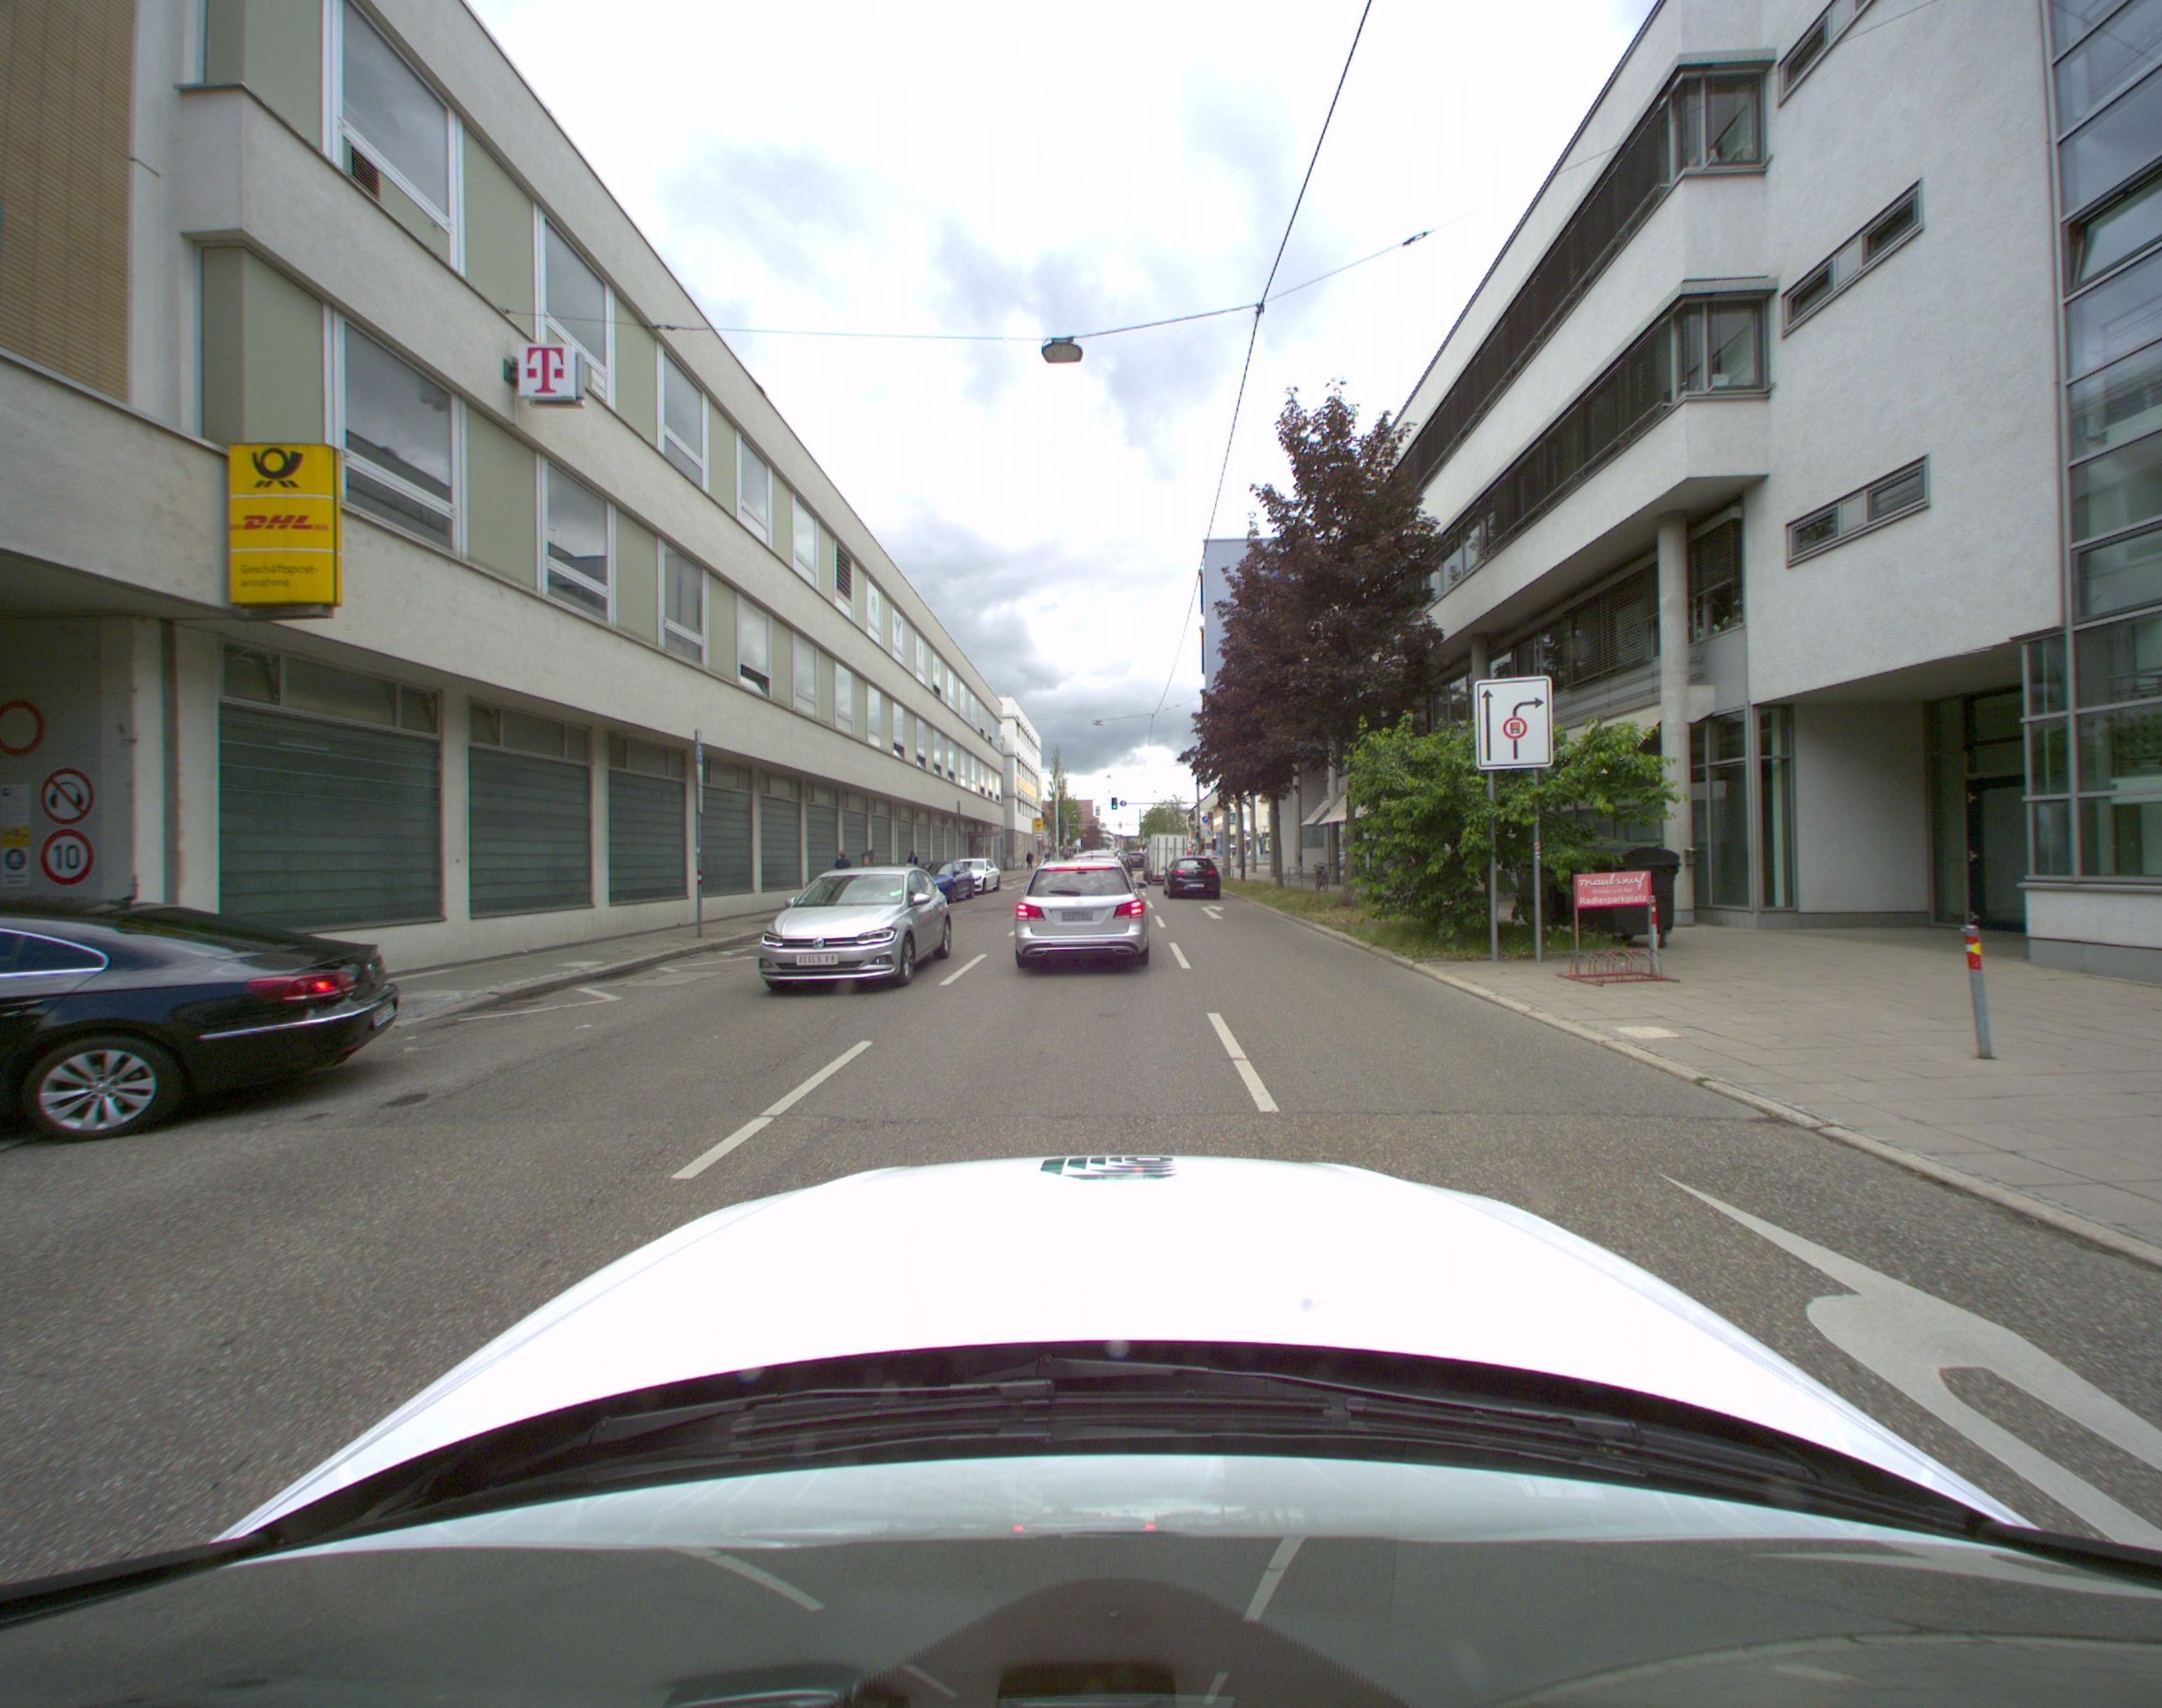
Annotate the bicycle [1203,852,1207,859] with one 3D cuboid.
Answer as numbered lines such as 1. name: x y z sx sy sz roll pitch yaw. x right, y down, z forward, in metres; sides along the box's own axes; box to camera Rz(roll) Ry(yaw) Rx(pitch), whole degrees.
1. bicycle: 20.255 0.195 133.302 0.446 1.107 2.151 -1 0 4

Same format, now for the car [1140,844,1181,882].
1. car: 4.374 0.465 45.391 1.871 1.945 4.907 1 0 1

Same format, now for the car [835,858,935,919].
1. car: -5.343 0.889 22.663 1.710 1.425 3.871 -3 0 1

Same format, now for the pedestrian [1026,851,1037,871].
1. pedestrian: -4.233 0.601 69.257 0.858 1.718 1.032 0 0 1

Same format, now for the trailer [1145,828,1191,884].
1. trailer: 4.287 0.096 40.781 1.871 2.613 4.324 1 0 1

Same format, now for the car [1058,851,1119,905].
1. car: 0.254 0.688 25.333 1.728 1.508 4.001 -1 0 1

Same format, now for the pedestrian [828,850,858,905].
1. pedestrian: -7.555 0.731 25.904 0.587 1.718 1.055 -1 0 1

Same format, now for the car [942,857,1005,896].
1. car: -4.465 0.902 34.462 1.662 1.434 4.559 -3 0 5

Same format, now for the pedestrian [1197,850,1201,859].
1. pedestrian: 19.026 0.035 131.641 0.577 1.469 0.650 0 0 -5

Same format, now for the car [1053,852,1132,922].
1. car: 0.288 0.725 20.035 1.728 1.508 4.001 -1 0 1

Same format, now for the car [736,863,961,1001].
1. car: -2.924 0.899 11.205 1.793 1.417 4.001 -3 0 1

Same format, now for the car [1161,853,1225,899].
1. car: 3.832 0.723 28.392 1.728 1.410 4.001 -1 0 1

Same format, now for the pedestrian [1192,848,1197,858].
1. pedestrian: 18.754 -0.112 134.453 0.577 1.666 0.650 0 0 -4

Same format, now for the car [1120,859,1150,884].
1. car: 3.401 1.088 51.869 1.728 1.410 4.001 -1 0 1

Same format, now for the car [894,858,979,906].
1. car: -4.946 0.919 28.524 1.806 1.426 4.270 -3 0 5

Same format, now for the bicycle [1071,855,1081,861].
1. bicycle: -0.951 0.810 159.675 1.936 1.029 0.529 0 0 -7

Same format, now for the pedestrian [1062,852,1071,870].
1. pedestrian: -1.366 0.635 76.677 0.643 1.718 0.785 0 0 10

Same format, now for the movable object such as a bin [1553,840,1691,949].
1. movable object such as a bin: 7.861 0.559 11.918 1.094 1.465 1.333 -2 0 1

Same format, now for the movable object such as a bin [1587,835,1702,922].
1. movable object such as a bin: 10.191 0.430 14.798 1.118 1.465 1.333 -2 0 1

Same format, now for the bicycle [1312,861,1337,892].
1. bicycle: 8.948 0.823 29.956 0.359 1.086 2.028 0 0 1

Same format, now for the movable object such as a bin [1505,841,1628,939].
1. movable object such as a bin: 7.872 0.557 13.291 1.123 1.465 1.413 -2 0 1

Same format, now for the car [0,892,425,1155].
1. car: -7.111 1.032 5.075 4.466 1.398 1.642 -1 0 -29

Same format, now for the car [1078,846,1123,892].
1. car: 0.819 0.597 34.015 1.728 1.759 4.001 -1 0 1

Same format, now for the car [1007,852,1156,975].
1. car: 0.051 0.744 12.323 1.839 1.508 4.172 -1 0 1

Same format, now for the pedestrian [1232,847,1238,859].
1. pedestrian: 21.190 -0.153 111.985 0.642 1.718 0.708 -1 0 25

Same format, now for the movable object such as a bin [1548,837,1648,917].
1. movable object such as a bin: 10.217 0.435 16.159 1.094 1.465 1.333 -2 0 1

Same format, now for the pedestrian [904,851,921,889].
1. pedestrian: -7.692 0.728 37.132 0.587 1.718 0.650 -1 0 1
